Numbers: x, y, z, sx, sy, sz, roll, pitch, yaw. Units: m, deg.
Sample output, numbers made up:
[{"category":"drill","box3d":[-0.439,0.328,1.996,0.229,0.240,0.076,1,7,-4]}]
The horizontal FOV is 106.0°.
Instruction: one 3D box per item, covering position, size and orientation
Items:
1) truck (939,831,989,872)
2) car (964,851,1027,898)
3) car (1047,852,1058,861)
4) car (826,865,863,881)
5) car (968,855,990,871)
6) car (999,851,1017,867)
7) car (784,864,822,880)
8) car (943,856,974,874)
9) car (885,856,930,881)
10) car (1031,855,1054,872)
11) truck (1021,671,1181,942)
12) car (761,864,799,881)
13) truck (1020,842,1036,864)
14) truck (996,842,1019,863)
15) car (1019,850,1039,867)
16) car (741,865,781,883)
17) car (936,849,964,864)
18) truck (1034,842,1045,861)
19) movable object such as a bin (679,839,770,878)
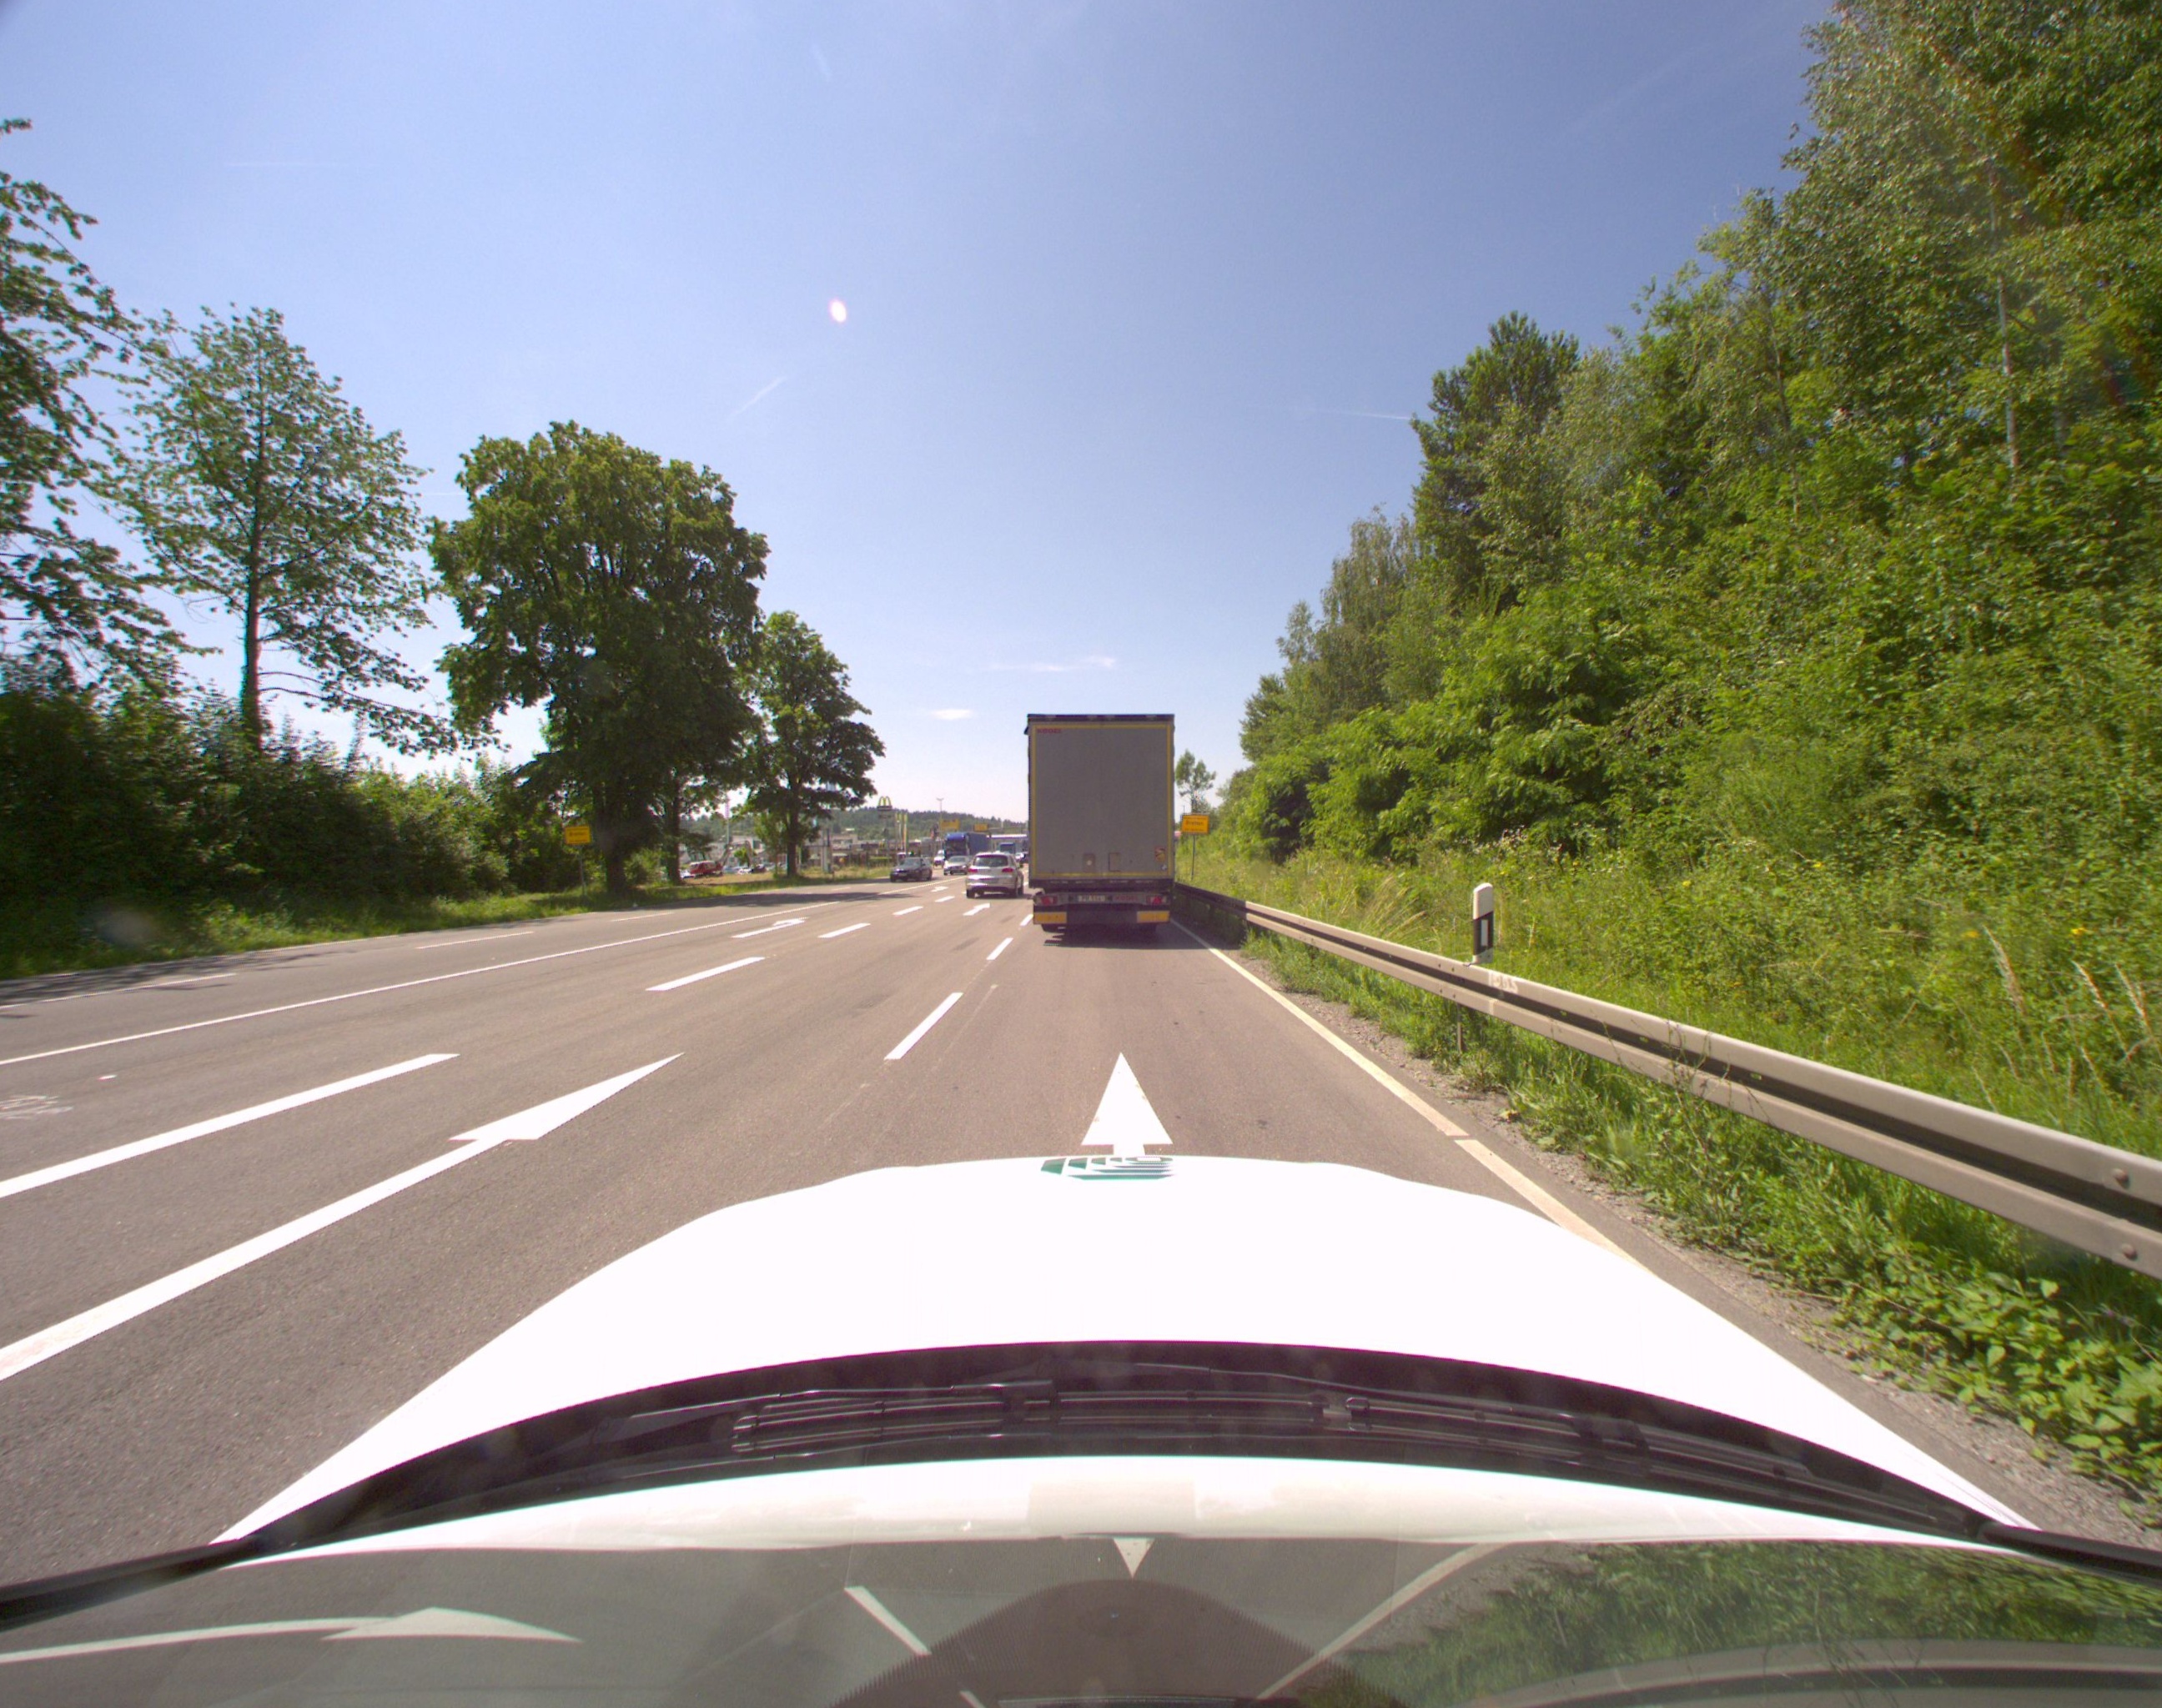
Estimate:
[{"category":"truck","box3d":[-13.141,-0.278,93.299,2.958,4.176,16.576,-1,0,1]},{"category":"car","box3d":[-3.156,0.717,30.926,1.798,1.670,4.293,0,0,2]},{"category":"car","box3d":[-6.455,0.651,187.717,2.483,2.014,5.525,0,-1,-1]},{"category":"car","box3d":[-24.940,1.948,85.813,3.948,1.618,1.852,-1,0,38]},{"category":"car","box3d":[-9.548,0.792,76.449,1.636,1.438,4.015,-1,0,-1]},{"category":"car","box3d":[-9.349,0.596,104.439,1.766,2.013,4.002,-1,0,2]},{"category":"car","box3d":[-28.762,1.830,84.366,3.948,1.618,1.852,-1,0,38]},{"category":"car","box3d":[-9.359,0.850,62.371,1.761,1.386,3.999,0,-1,0]},{"category":"car","box3d":[-10.275,0.852,48.518,1.761,1.386,3.999,0,-1,0]},{"category":"car","box3d":[-3.353,0.822,71.800,1.680,1.398,4.404,-1,-1,2]},{"category":"truck","box3d":[0.616,-0.702,22.300,2.745,4.639,16.661,0,-1,2]},{"category":"car","box3d":[-30.396,1.867,82.224,3.948,1.618,1.852,-1,0,38]},{"category":"truck","box3d":[-11.271,-0.165,173.279,3.140,4.349,17.515,-1,0,-4]},{"category":"truck","box3d":[-12.284,-0.267,136.880,2.837,3.351,11.480,-1,0,0]},{"category":"car","box3d":[-6.326,0.556,99.073,1.986,2.013,4.002,-1,0,2]},{"category":"car","box3d":[-31.638,1.968,80.472,3.948,1.651,2.013,-1,0,38]},{"category":"car","box3d":[-20.125,0.319,125.530,1.977,2.183,5.218,-1,0,19]},{"category":"truck","box3d":[-10.595,-0.480,208.335,2.534,4.627,10.815,0,-1,-4]},{"category":"movable object such as a bin","box3d":[-31.883,0.339,73.008,3.013,3.298,6.834,-1,0,41]}]
